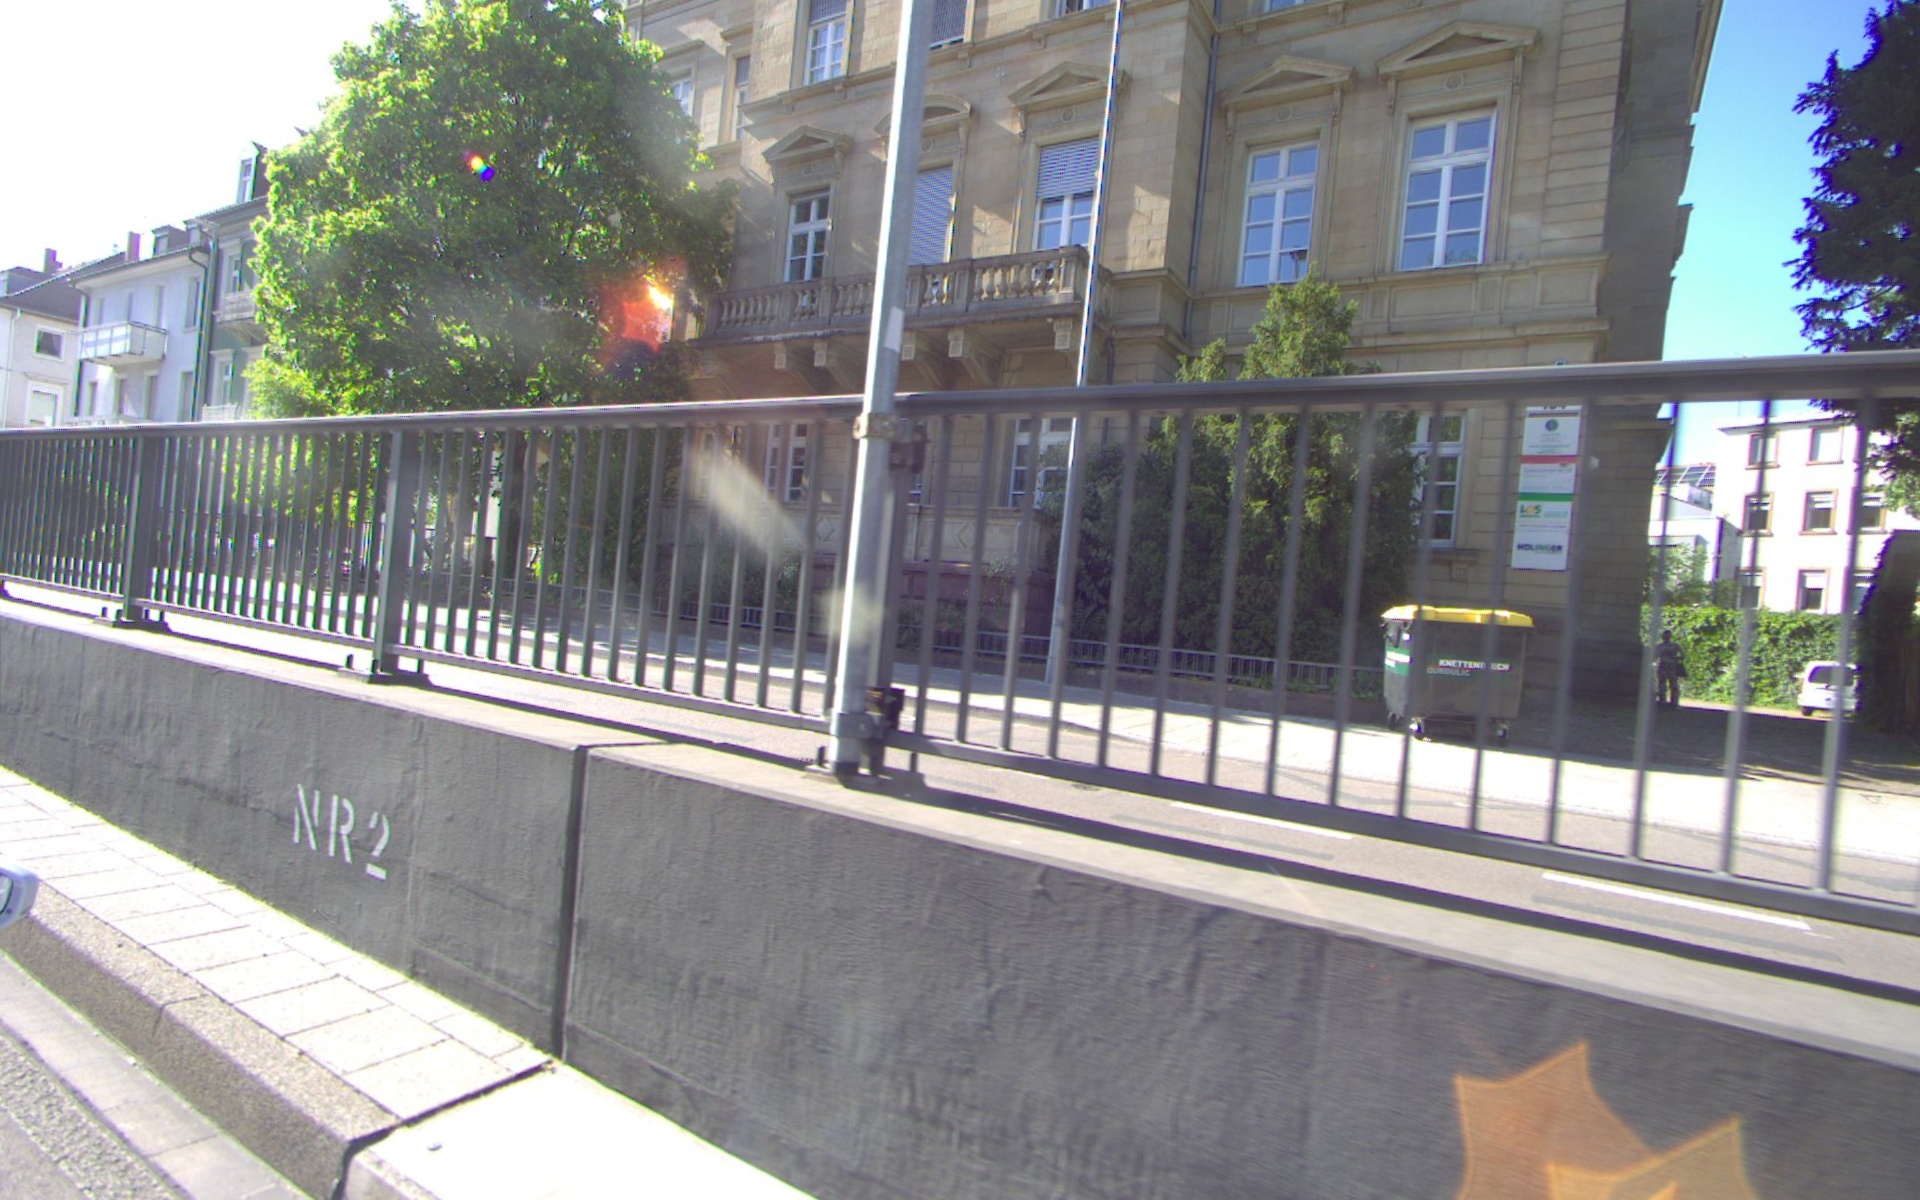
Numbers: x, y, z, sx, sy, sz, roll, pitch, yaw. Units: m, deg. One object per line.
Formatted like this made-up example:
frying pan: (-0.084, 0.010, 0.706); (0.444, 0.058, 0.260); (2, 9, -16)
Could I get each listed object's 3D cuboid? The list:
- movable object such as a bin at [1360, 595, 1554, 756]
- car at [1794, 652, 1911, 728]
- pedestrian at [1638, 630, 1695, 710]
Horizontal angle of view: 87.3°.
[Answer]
movable object such as a bin: (5.060, 0.717, 10.423); (1.383, 1.344, 1.448); (6, 5, 14)
car: (28.232, 2.858, 31.793); (3.880, 1.904, 1.828); (9, -2, -35)
pedestrian: (14.108, 1.402, 20.109); (0.799, 1.499, 0.852); (6, -1, 35)
